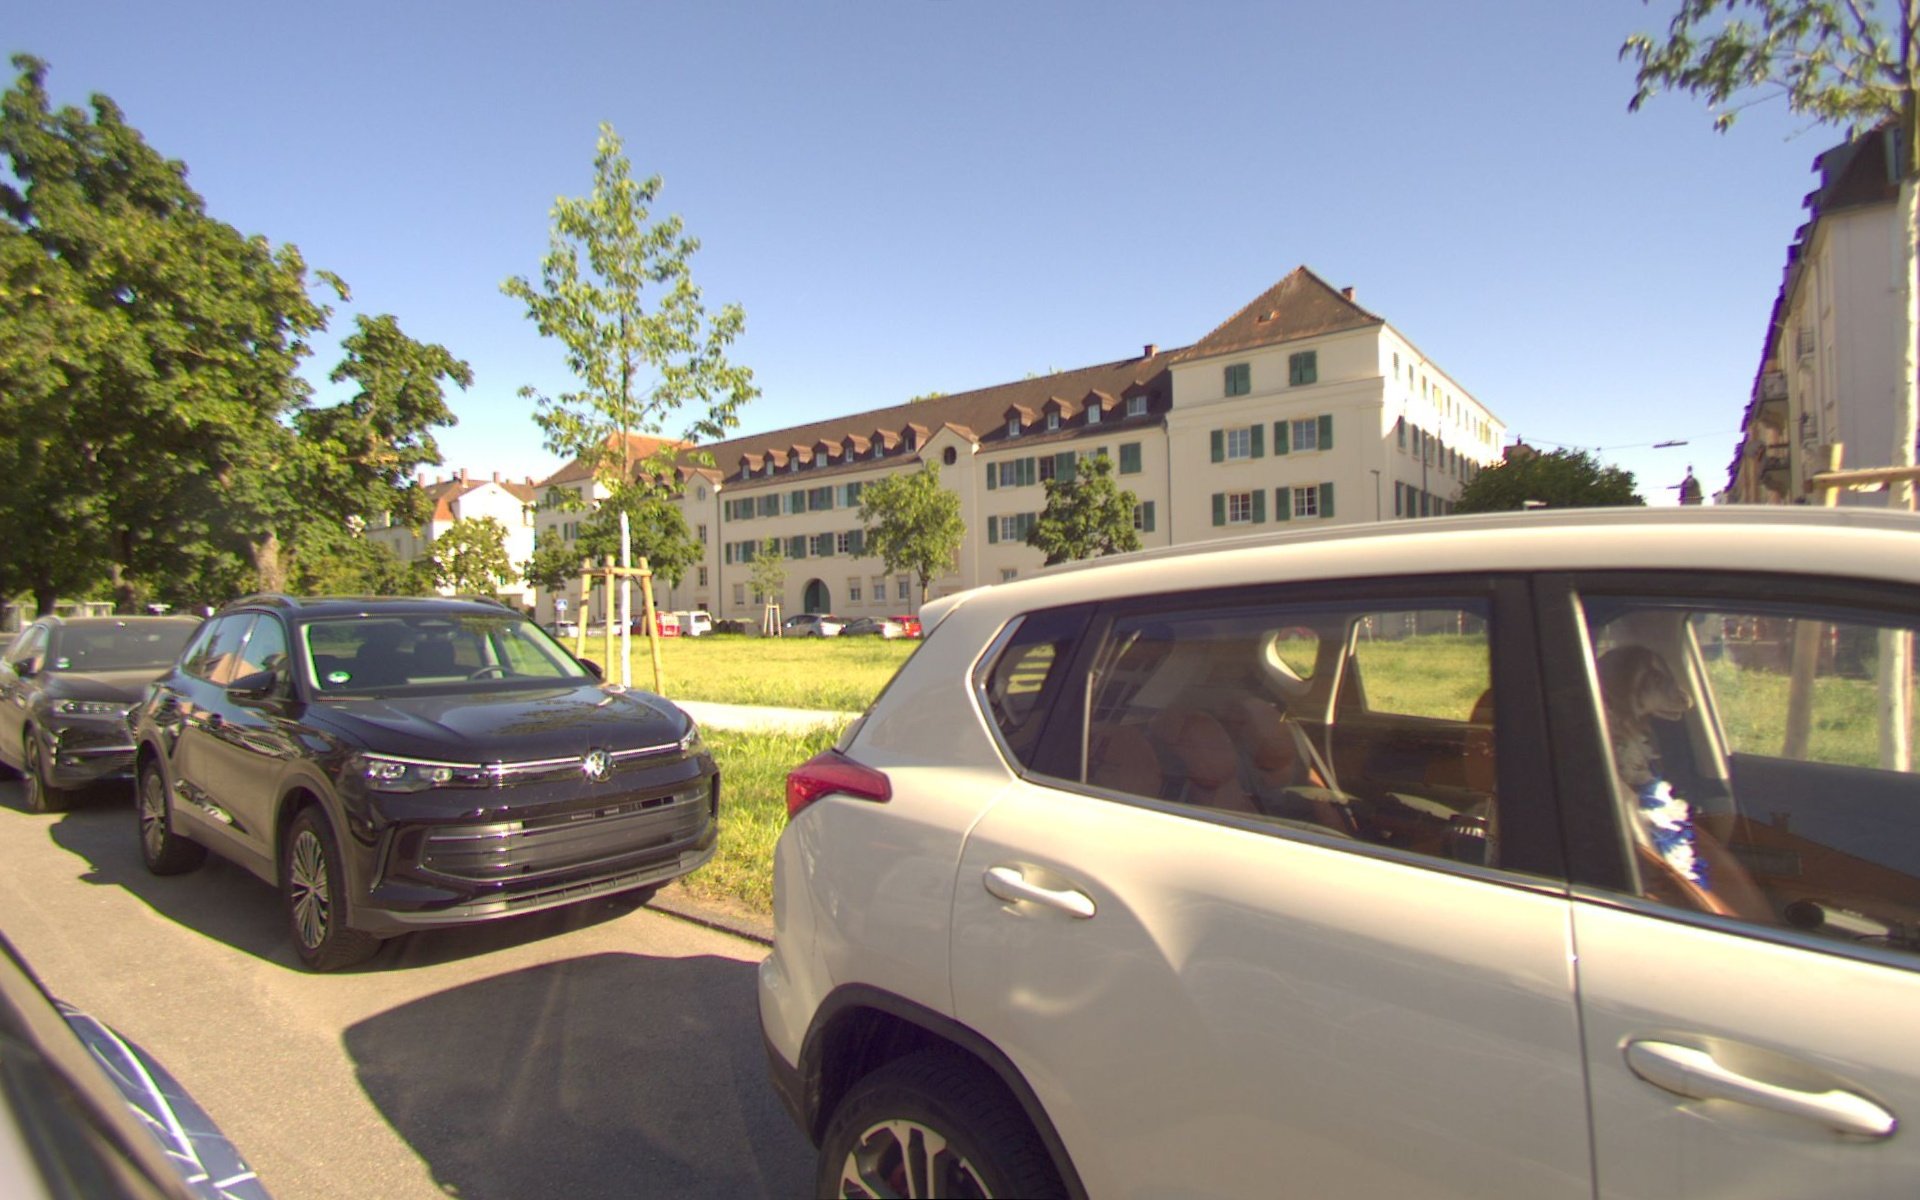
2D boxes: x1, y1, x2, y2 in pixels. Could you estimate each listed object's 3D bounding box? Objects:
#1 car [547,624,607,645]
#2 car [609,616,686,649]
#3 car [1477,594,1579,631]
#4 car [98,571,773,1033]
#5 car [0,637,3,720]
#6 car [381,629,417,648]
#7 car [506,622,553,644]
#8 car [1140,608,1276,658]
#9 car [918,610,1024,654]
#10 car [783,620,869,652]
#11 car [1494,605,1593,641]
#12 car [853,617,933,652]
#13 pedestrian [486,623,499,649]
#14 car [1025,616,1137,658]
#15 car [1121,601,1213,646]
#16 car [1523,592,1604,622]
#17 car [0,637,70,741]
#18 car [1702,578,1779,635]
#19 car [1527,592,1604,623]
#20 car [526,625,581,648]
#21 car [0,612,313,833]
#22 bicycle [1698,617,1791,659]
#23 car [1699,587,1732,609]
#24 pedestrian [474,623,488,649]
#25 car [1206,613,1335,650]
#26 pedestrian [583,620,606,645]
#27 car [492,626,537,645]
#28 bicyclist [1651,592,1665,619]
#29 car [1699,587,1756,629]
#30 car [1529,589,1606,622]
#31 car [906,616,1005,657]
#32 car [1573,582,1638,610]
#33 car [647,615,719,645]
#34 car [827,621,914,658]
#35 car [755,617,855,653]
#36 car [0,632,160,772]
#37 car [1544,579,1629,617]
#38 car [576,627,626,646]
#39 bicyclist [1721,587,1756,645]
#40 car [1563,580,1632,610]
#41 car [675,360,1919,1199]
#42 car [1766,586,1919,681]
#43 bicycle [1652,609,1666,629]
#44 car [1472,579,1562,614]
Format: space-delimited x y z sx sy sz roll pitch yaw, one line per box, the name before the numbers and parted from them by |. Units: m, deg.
car | -28.336 2.562 74.812 4.953 1.496 1.974 -2 -2 39
car | -20.064 2.079 64.841 5.253 1.999 2.198 -2 -1 40
car | 28.414 0.625 50.649 4.236 1.714 1.685 -2 -1 38
car | -3.302 0.806 5.865 4.711 1.651 1.824 -2 -3 40
car | -19.353 1.468 18.944 3.681 1.504 1.571 -2 -3 39
car | -56.444 3.896 101.852 3.998 1.807 1.930 -2 -1 41
car | -42.401 3.251 99.630 2.042 1.970 3.763 -2 -1 41
car | 9.712 1.315 39.825 4.699 1.834 2.137 -2 -1 38
car | 0.562 1.750 54.909 5.250 2.233 2.506 -2 -1 38
car | -8.267 2.223 62.142 5.255 1.834 2.425 -2 -1 41
car | 26.376 1.062 45.804 3.663 1.533 1.691 -2 -1 39
car | -3.862 2.005 58.408 4.162 1.919 2.242 -2 -1 39
pedestrian | -31.242 2.405 67.644 0.674 1.698 0.537 -3 -2 45
car | 5.969 1.832 50.191 5.154 1.900 2.132 -2 -1 40
car | 9.601 1.093 47.068 3.893 2.029 1.649 -2 -1 40
car | 32.978 0.397 55.320 3.608 1.532 1.838 -2 -1 36
car | -15.899 1.365 16.154 4.662 1.503 1.738 -2 -3 39
car | 29.842 0.243 38.817 2.136 2.029 4.521 -2 -1 36
car | 34.448 0.451 57.575 3.608 1.653 1.810 -2 -1 36
car | -28.882 2.592 71.832 4.231 1.595 1.771 -2 -1 39
car | -8.044 0.985 9.673 4.735 1.622 1.801 -2 -3 40
bicycle | 24.735 1.206 31.939 2.255 1.272 0.833 -2 -1 40
car | 63.273 -0.172 84.737 1.954 1.721 4.109 -2 -1 39
pedestrian | -31.785 2.365 67.143 0.749 1.698 0.538 -2 -1 42
car | 13.390 1.365 43.831 4.953 1.496 1.974 -2 -2 39
pedestrian | -29.990 2.652 83.052 1.161 1.978 1.328 -2 -1 34
car | -33.093 2.636 75.125 3.511 1.343 1.634 -2 -1 39
bicyclist | 37.017 0.293 53.657 0.532 1.374 0.776 -2 -1 36
car | 38.844 0.387 51.313 1.995 1.988 4.994 -2 -1 34
car | 35.748 0.332 59.560 3.705 1.848 1.933 -2 -1 36
car | -0.237 1.746 48.210 4.251 1.834 2.215 -2 -1 38
car | 60.397 -0.333 94.705 4.946 2.413 1.933 -2 -1 36
car | -19.563 2.124 71.316 5.250 1.999 2.199 -2 -1 38
car | -4.592 2.025 51.845 4.007 1.763 2.293 -2 -1 41
car | -8.468 1.905 55.100 5.451 1.834 2.425 -2 -1 41
car | -11.939 1.197 12.842 4.465 1.531 1.855 -2 -3 39
car | 44.712 -0.090 72.263 4.946 2.538 1.933 -2 -1 36
car | -27.683 2.809 77.990 3.996 1.366 1.751 -2 -1 39
bicyclist | 24.637 0.510 32.016 0.801 1.816 0.666 -2 -1 39
car | 55.838 -0.402 88.666 4.946 2.413 1.933 -2 -1 36
car | 1.539 0.623 1.502 4.285 1.660 1.738 -2 -3 41
car | 17.245 0.576 18.814 1.911 1.588 4.326 -2 -1 15
bicycle | 37.147 1.001 53.787 0.528 1.024 1.469 -2 -1 36
car | 26.954 -0.151 48.983 3.608 1.532 1.688 -2 -1 36
